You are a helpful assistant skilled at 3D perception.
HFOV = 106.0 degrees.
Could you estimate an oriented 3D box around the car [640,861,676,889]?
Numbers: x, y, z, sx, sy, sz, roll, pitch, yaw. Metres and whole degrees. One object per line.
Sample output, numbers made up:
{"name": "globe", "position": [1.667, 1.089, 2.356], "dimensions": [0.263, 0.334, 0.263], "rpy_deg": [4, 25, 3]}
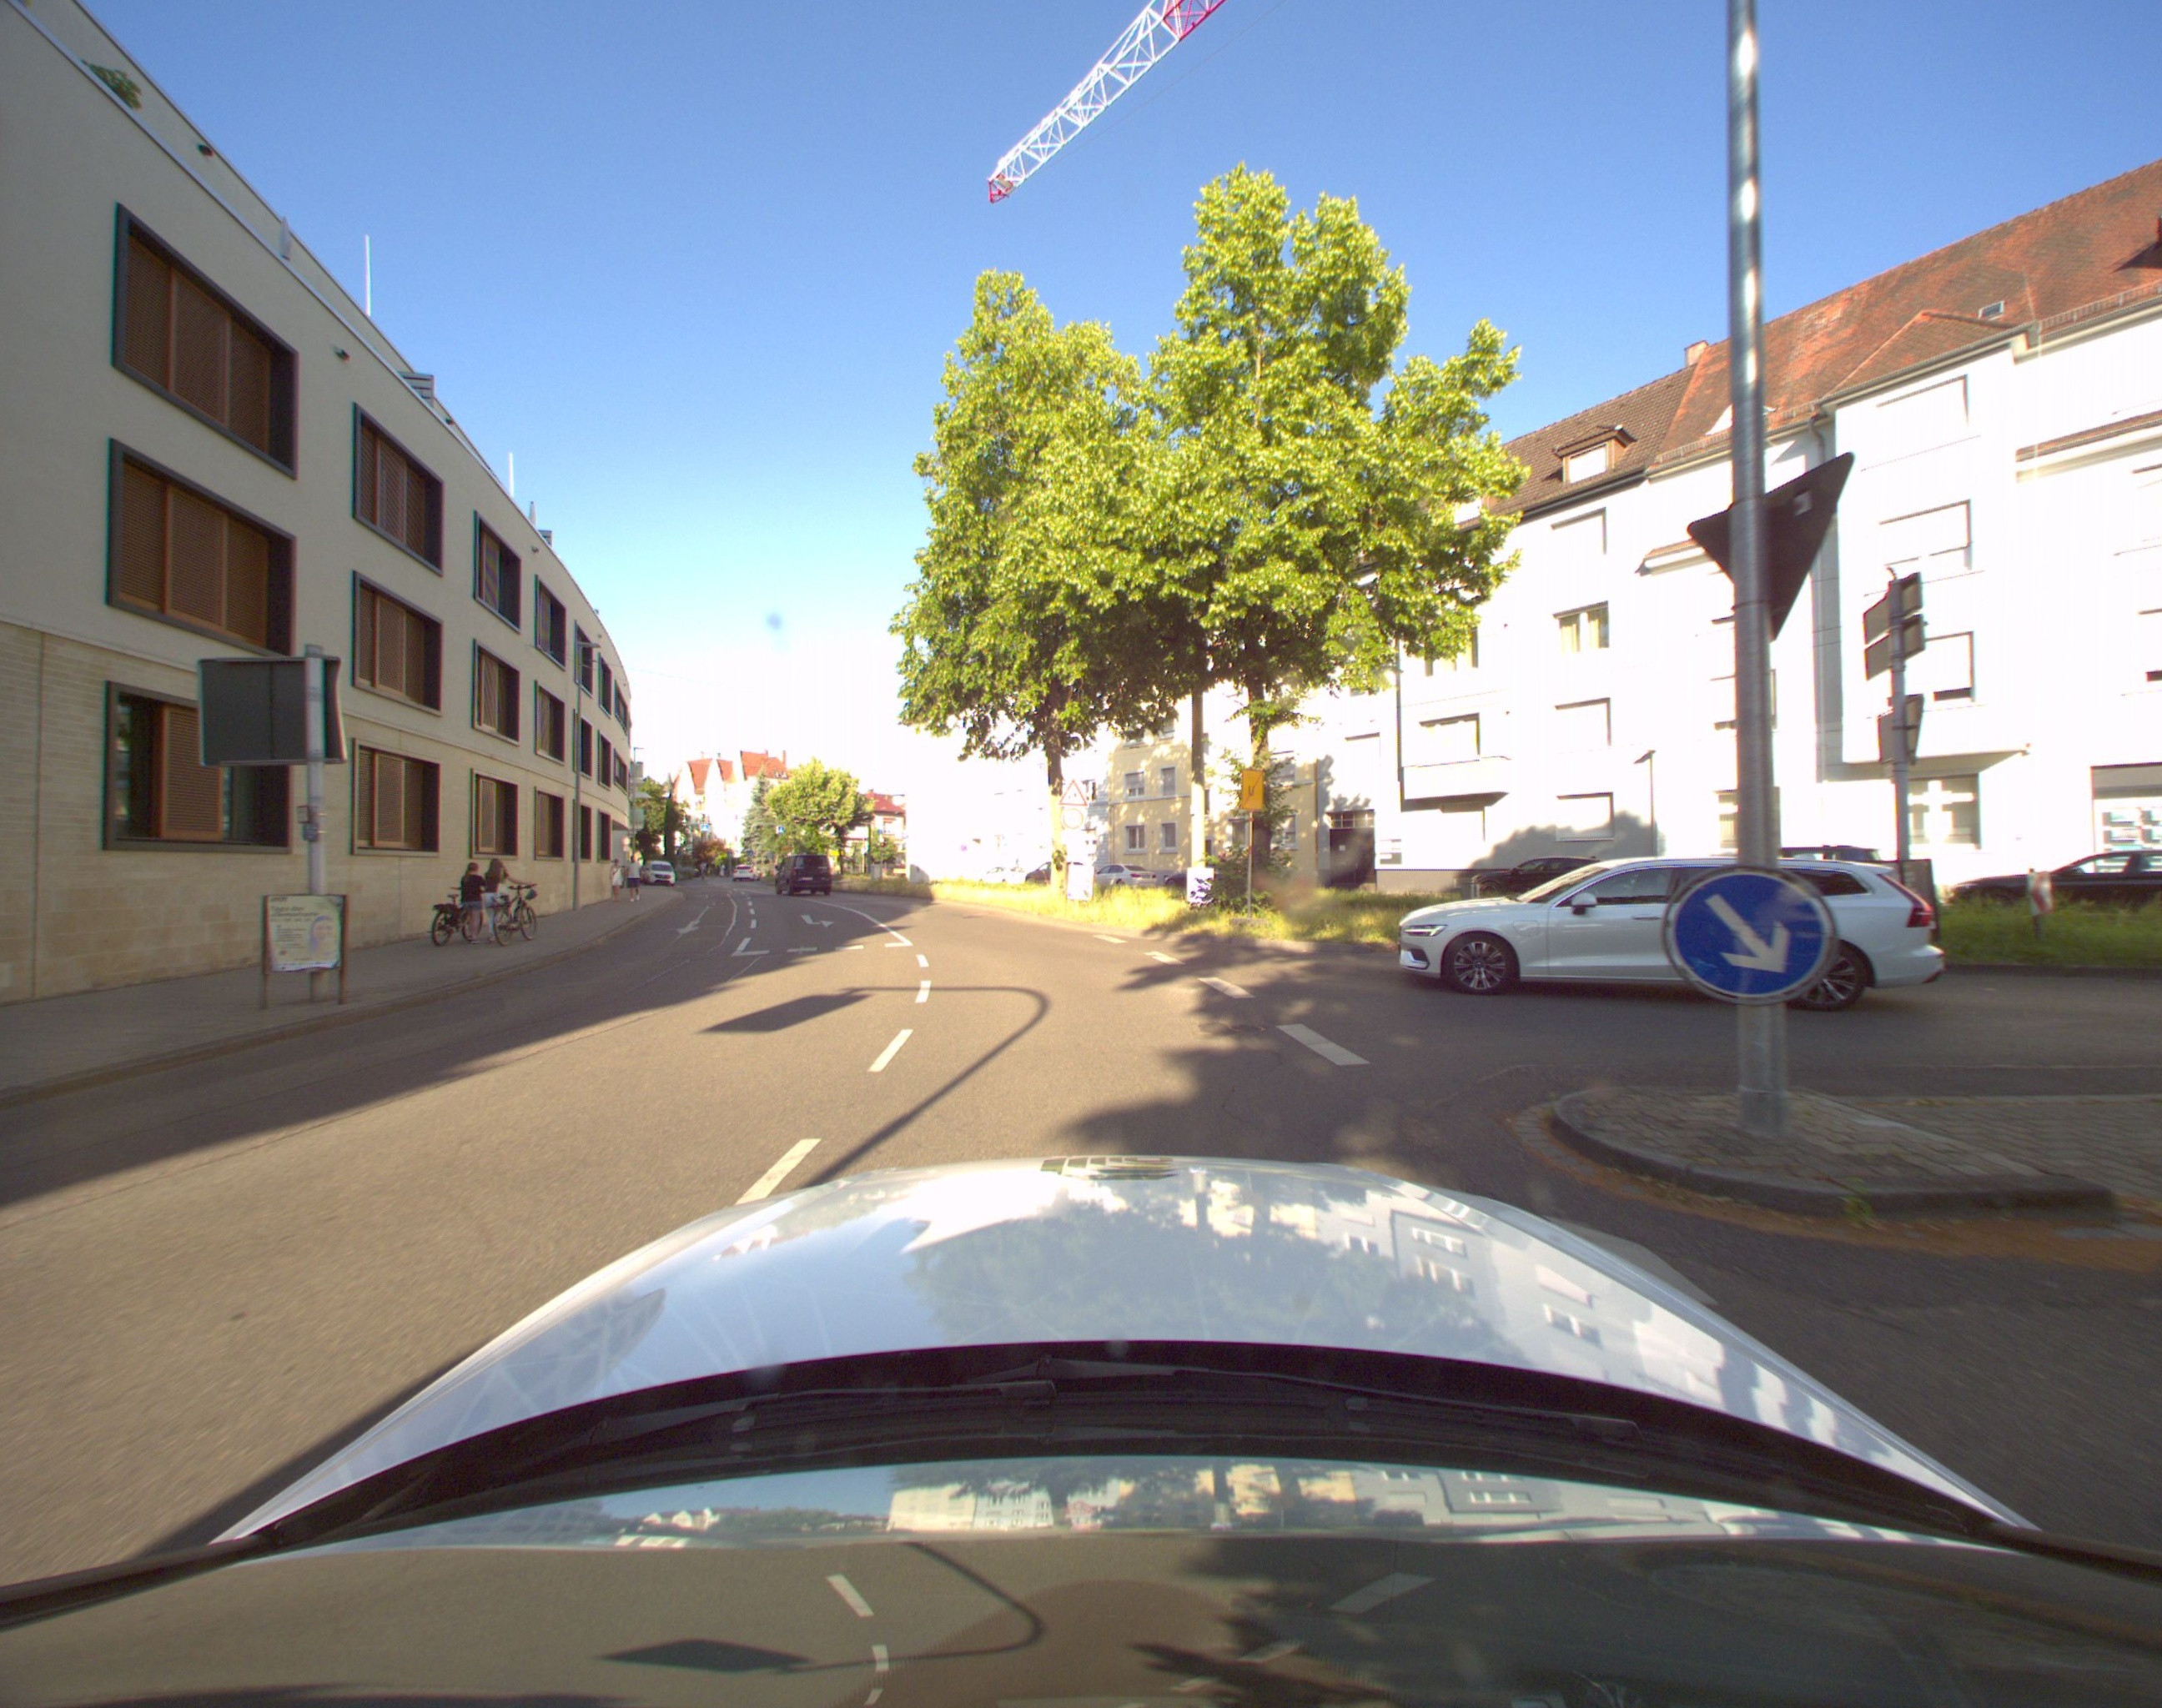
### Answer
{"name": "car", "position": [-30.603, 1.528, 58.862], "dimensions": [1.824, 1.870, 4.286], "rpy_deg": [3, -3, -34]}

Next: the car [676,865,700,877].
{"name": "car", "position": [-53.704, 2.295, 111.281], "dimensions": [2.010, 1.596, 3.952], "rpy_deg": [2, -3, -41]}

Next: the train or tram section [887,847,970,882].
{"name": "train or tram section", "position": [-16.251, 1.185, 87.785], "dimensions": [2.749, 3.556, 9.981], "rpy_deg": [-1, -1, 31]}

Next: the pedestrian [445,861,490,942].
{"name": "pedestrian", "position": [-12.038, 0.920, 15.997], "dimensions": [0.474, 1.565, 0.600], "rpy_deg": [0, -1, -13]}

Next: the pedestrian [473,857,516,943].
{"name": "pedestrian", "position": [-11.531, 0.895, 16.028], "dimensions": [0.474, 1.647, 0.600], "rpy_deg": [-1, -1, -13]}

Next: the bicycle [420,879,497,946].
{"name": "bicycle", "position": [-12.051, 1.101, 15.822], "dimensions": [0.376, 1.167, 1.830], "rpy_deg": [-1, 0, -11]}

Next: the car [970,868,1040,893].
{"name": "car", "position": [-4.649, 1.566, 49.328], "dimensions": [2.011, 1.386, 4.393], "rpy_deg": [0, 0, -42]}

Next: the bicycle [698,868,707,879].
{"name": "bicycle", "position": [-35.756, 1.851, 76.865], "dimensions": [0.626, 1.081, 1.766], "rpy_deg": [0, -1, -31]}

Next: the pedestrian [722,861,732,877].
{"name": "pedestrian", "position": [-38.221, 1.592, 87.884], "dimensions": [0.874, 1.658, 0.899], "rpy_deg": [3, -3, -27]}

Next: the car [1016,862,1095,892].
{"name": "car", "position": [-1.478, 1.286, 45.209], "dimensions": [2.010, 1.572, 4.588], "rpy_deg": [0, -1, -39]}

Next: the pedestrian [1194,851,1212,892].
{"name": "pedestrian", "position": [6.082, 0.855, 40.544], "dimensions": [0.617, 2.014, 0.642], "rpy_deg": [1, -2, -38]}

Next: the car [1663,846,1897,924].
{"name": "car", "position": [17.437, 0.695, 20.472], "dimensions": [2.010, 1.749, 4.161], "rpy_deg": [0, 0, -39]}

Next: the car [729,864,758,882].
{"name": "car", "position": [-29.885, 1.657, 72.199], "dimensions": [1.963, 1.505, 3.665], "rpy_deg": [-1, 0, -16]}

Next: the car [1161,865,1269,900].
{"name": "car", "position": [5.737, 1.182, 35.312], "dimensions": [2.010, 1.386, 4.395], "rpy_deg": [0, 0, -39]}

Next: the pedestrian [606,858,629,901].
{"name": "pedestrian", "position": [-18.620, 1.014, 32.721], "dimensions": [0.705, 1.714, 0.836], "rpy_deg": [1, -2, -25]}

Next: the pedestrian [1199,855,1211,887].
{"name": "pedestrian", "position": [5.920, 0.825, 38.944], "dimensions": [0.334, 1.515, 0.438], "rpy_deg": [0, -1, -42]}

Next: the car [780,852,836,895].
{"name": "car", "position": [-13.568, 0.929, 40.376], "dimensions": [2.005, 2.014, 3.964], "rpy_deg": [1, -1, -28]}

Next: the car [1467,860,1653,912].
{"name": "car", "position": [14.245, 0.887, 24.445], "dimensions": [2.010, 1.386, 4.395], "rpy_deg": [0, 0, -39]}

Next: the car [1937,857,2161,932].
{"name": "car", "position": [20.508, 0.770, 16.486], "dimensions": [2.009, 1.386, 4.163], "rpy_deg": [0, 0, -36]}

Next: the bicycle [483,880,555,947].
{"name": "bicycle", "position": [-11.023, 1.135, 16.045], "dimensions": [0.441, 1.178, 1.958], "rpy_deg": [1, 0, -13]}

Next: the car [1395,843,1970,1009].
{"name": "car", "position": [5.960, 0.647, 8.879], "dimensions": [4.716, 1.463, 1.864], "rpy_deg": [0, 0, 21]}

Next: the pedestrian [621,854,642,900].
{"name": "pedestrian", "position": [-18.165, 0.931, 32.919], "dimensions": [0.608, 1.849, 0.984], "rpy_deg": [1, -2, -25]}

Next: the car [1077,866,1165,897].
{"name": "car", "position": [1.936, 1.332, 40.720], "dimensions": [2.010, 1.386, 4.395], "rpy_deg": [0, 0, -39]}

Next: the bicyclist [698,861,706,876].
{"name": "bicyclist", "position": [-35.770, 1.371, 76.880], "dimensions": [0.626, 1.380, 0.793], "rpy_deg": [0, -1, -31]}

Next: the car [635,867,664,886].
{"name": "car", "position": [-36.114, 1.864, 68.239], "dimensions": [1.717, 1.466, 4.555], "rpy_deg": [3, -1, -24]}

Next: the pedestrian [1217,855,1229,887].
{"name": "pedestrian", "position": [6.800, 0.791, 38.975], "dimensions": [0.438, 1.515, 0.307], "rpy_deg": [-2, -1, 44]}
